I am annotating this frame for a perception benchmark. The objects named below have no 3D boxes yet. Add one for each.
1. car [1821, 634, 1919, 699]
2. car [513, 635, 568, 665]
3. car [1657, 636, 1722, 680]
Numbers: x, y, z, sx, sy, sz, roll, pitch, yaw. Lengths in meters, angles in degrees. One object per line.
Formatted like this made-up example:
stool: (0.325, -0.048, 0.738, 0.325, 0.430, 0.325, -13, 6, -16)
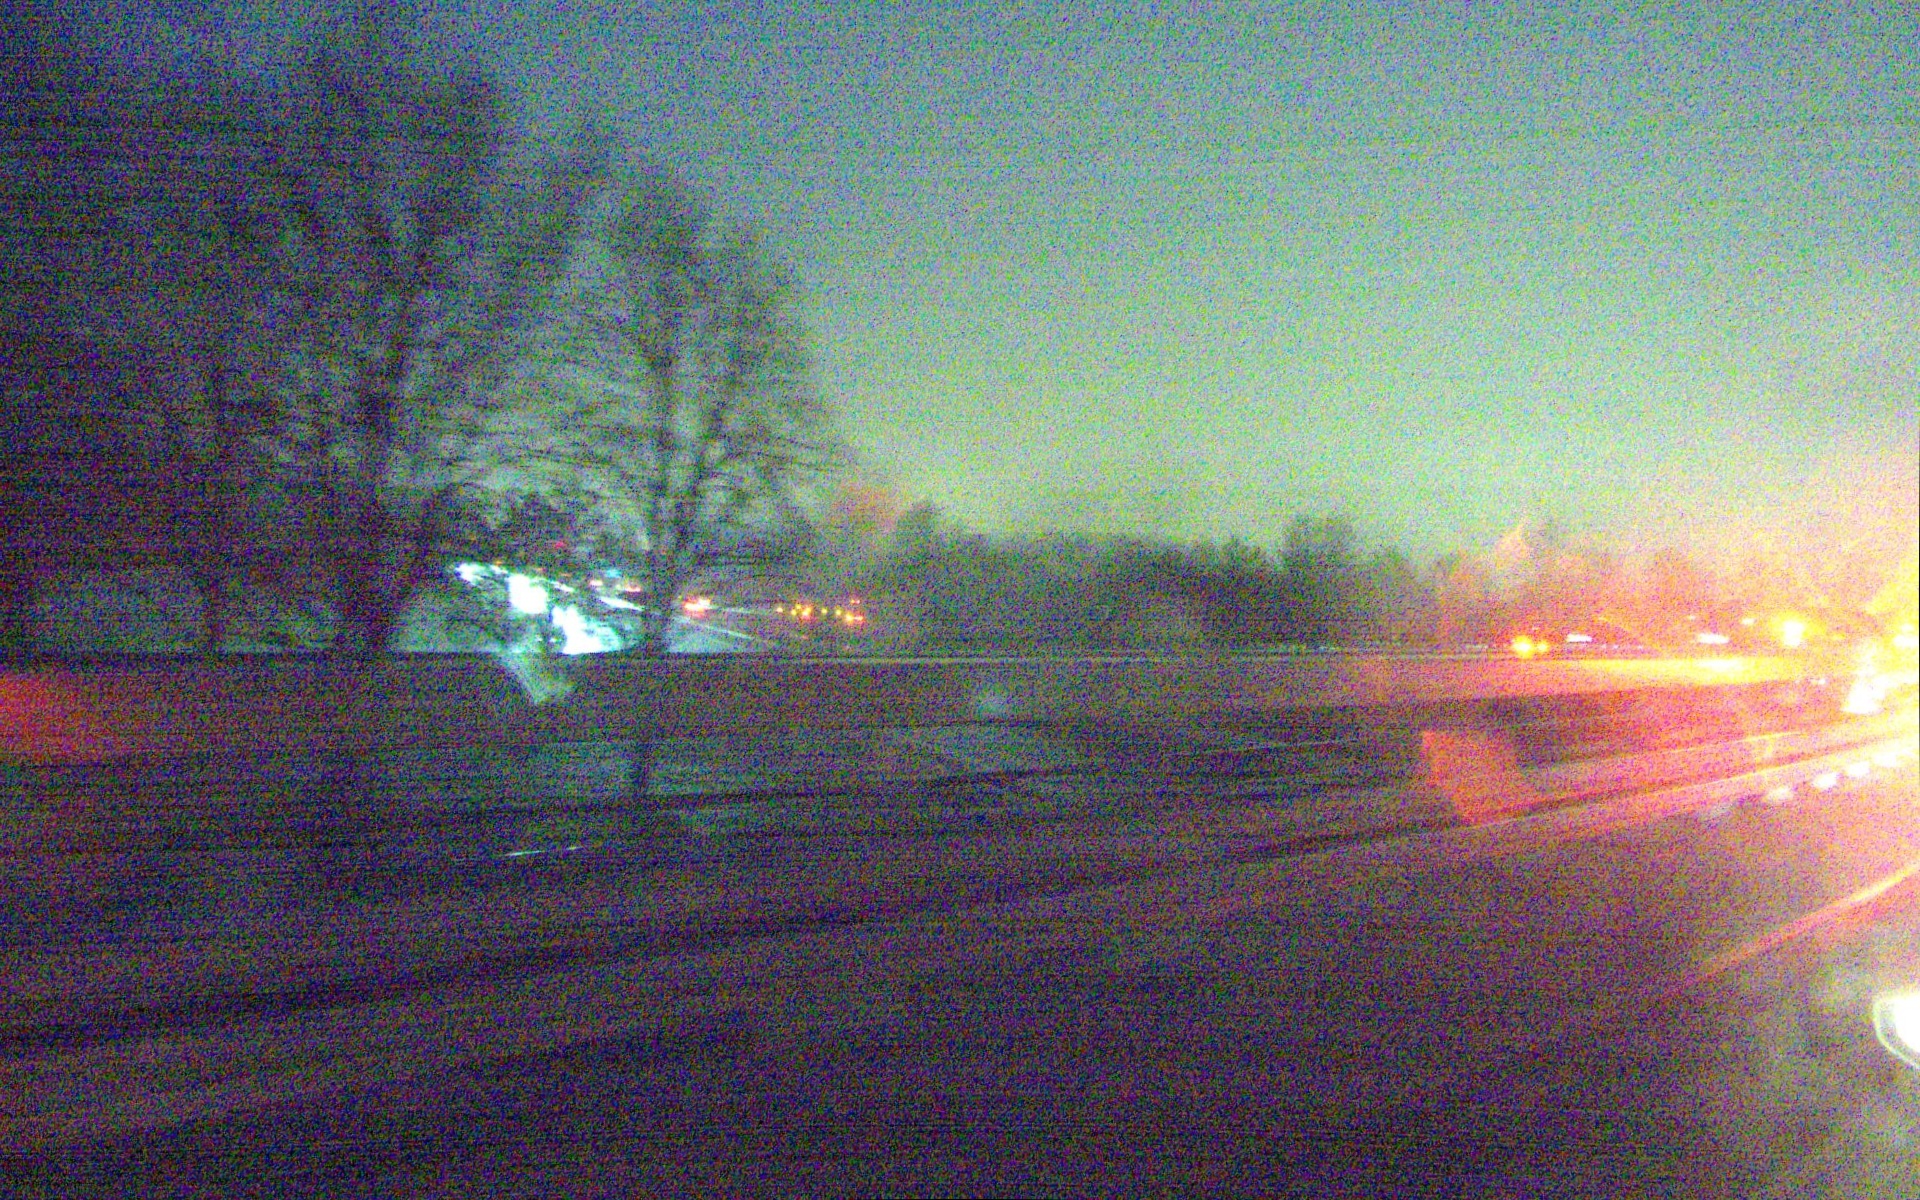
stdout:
car: (32.561, 2.324, 35.861, 1.867, 2.067, 4.040, 3, -1, 28)
car: (-29.038, 3.427, 69.695, 1.885, 1.775, 4.245, 4, 0, 2)
car: (36.659, 2.873, 50.580, 1.865, 2.024, 4.043, 2, 0, 25)
